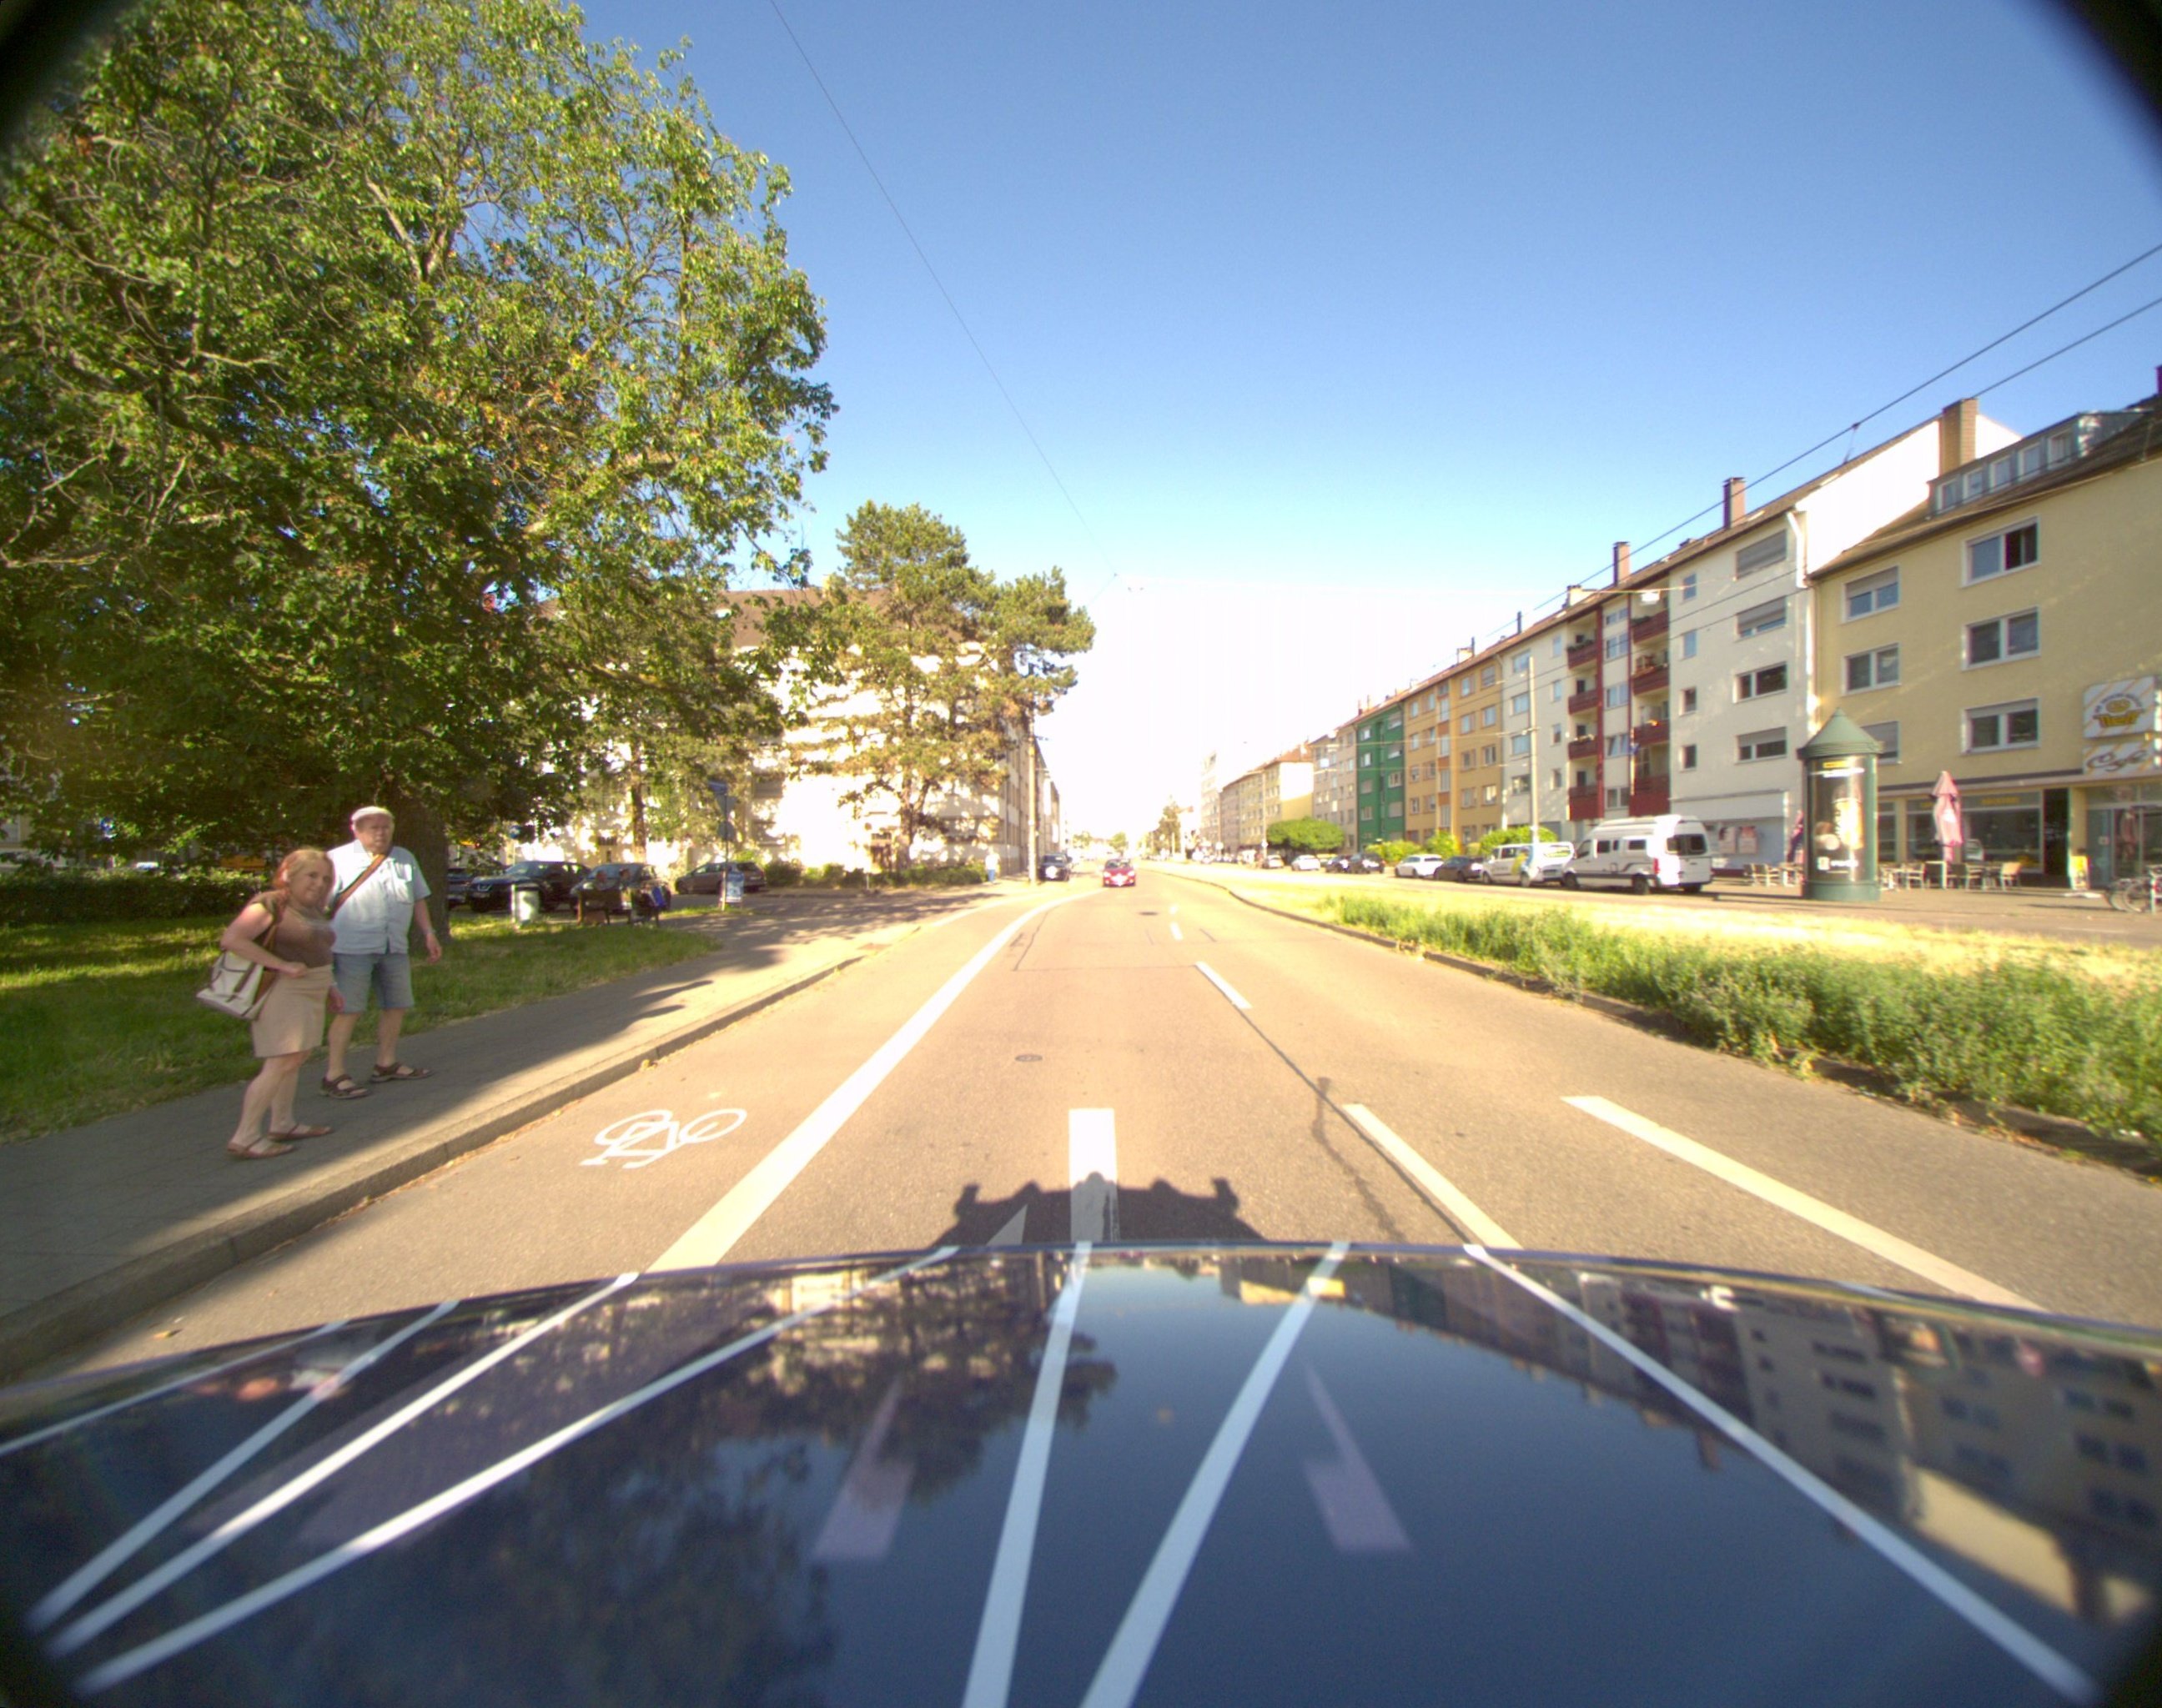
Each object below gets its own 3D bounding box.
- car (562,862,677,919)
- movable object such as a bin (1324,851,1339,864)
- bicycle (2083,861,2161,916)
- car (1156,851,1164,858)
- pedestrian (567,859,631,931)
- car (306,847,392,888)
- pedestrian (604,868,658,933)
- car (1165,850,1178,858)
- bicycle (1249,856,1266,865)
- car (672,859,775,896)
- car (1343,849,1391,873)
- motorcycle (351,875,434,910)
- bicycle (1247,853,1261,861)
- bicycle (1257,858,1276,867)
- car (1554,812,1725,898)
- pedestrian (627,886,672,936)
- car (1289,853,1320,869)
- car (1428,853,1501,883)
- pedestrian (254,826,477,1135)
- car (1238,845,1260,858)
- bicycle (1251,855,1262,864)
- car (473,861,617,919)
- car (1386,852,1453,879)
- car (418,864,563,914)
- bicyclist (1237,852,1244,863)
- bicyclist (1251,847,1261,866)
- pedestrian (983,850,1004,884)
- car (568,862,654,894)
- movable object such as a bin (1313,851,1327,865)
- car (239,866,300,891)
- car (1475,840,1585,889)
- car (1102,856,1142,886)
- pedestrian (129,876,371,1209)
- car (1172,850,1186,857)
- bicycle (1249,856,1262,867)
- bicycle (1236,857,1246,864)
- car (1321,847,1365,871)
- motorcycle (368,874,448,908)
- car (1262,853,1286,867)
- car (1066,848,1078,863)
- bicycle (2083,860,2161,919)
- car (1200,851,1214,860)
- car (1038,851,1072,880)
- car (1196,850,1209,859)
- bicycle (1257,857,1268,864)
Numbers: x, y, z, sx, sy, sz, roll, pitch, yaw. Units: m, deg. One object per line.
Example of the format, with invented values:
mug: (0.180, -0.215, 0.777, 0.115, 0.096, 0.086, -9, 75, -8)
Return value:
car: (-13.306, 0.992, 22.168, 1.641, 1.485, 3.804, 0, 0, -11)
movable object such as a bin: (26.674, 0.371, 80.876, 1.149, 1.360, 1.039, -3, 1, 3)
bicycle: (23.823, 0.758, 16.734, 0.520, 1.177, 2.084, -4, 2, -33)
car: (18.729, 0.107, 180.334, 1.617, 1.550, 4.000, 1, 0, 0)
pedestrian: (-9.589, 0.811, 15.124, 0.685, 1.365, 0.756, -3, 1, 27)
car: (-48.468, 0.906, 50.294, 5.306, 2.428, 2.129, -3, 1, 24)
pedestrian: (-8.884, 0.913, 15.009, 0.403, 1.219, 0.762, -3, 1, 27)
car: (18.526, 0.031, 156.371, 1.788, 1.519, 4.413, 0, 0, -5)
bicycle: (22.323, 0.818, 96.158, 2.052, 1.086, 0.616, -3, 1, 6)
car: (-16.250, 1.027, 34.529, 4.294, 1.493, 1.772, 0, 4, 24)
car: (21.417, 0.516, 56.995, 1.998, 1.598, 4.151, -3, 0, 0)
motorcycle: (-21.805, 1.223, 24.110, 1.785, 1.066, 0.713, 2, -1, -16)
bicycle: (26.679, 0.496, 117.109, 2.103, 1.099, 0.472, -3, 1, 1)
bicycle: (22.570, 1.037, 92.516, 2.049, 1.086, 0.616, -3, 1, 27)
car: (21.063, 0.023, 29.133, 2.037, 2.852, 6.228, -2, 0, 1)
pedestrian: (-8.432, 1.107, 14.847, 0.403, 0.928, 0.624, -3, -1, 27)
car: (21.299, 0.636, 72.571, 1.733, 1.446, 4.376, -2, 0, 1)
car: (21.011, 0.708, 41.836, 1.699, 1.506, 4.325, -2, 0, -2)
pedestrian: (-4.478, 0.740, 4.804, 0.704, 1.779, 0.694, 2, 0, 6)
car: (26.651, -0.361, 120.978, 1.999, 1.938, 5.499, -3, 0, -3)
bicycle: (21.110, 0.702, 91.480, 0.511, 1.086, 1.934, -3, 0, -11)
car: (-16.049, 1.013, 22.991, 1.455, 1.563, 3.810, 0, 0, 4)
car: (21.036, 0.691, 47.413, 1.897, 1.483, 4.702, -3, 0, -2)
car: (-18.971, 1.063, 24.677, 1.640, 1.432, 4.239, 0, 0, -5)
bicyclist: (19.824, 0.467, 94.261, 0.775, 1.376, 0.648, 0, 1, 1)
bicyclist: (18.909, 0.297, 82.074, 0.775, 2.002, 0.648, -3, 1, 1)
pedestrian: (-4.474, 0.642, 38.874, 0.882, 1.712, 0.725, 0, 0, 6)
car: (-23.427, 1.152, 37.883, 3.902, 1.461, 1.773, 1, 0, 24)
movable object such as a bin: (25.442, 0.441, 80.908, 1.149, 1.360, 1.039, -3, 1, 3)
car: (-60.334, 1.837, 56.490, 3.991, 1.601, 1.803, -3, 0, 24)
car: (21.079, 0.444, 36.008, 2.037, 2.009, 5.370, -3, 0, 1)
car: (2.037, 0.828, 38.627, 1.862, 1.461, 3.808, 0, 0, 1)
pedestrian: (-4.180, 0.887, 3.865, 0.530, 1.520, 0.628, 1, 1, 6)
car: (19.213, -0.026, 149.455, 1.839, 1.377, 4.413, 0, 0, -6)
bicycle: (18.823, 0.785, 81.935, 0.770, 1.139, 2.474, 1, 0, 1)
bicycle: (19.839, 0.839, 94.207, 0.770, 0.874, 2.069, 1, 0, 1)
car: (21.351, 0.392, 62.080, 1.998, 1.827, 4.609, -3, 0, 0)
motorcycle: (-22.021, 1.202, 24.897, 1.785, 1.066, 0.713, 2, -1, -16)
car: (21.677, 0.674, 85.401, 1.640, 1.434, 3.733, -3, 0, -2)
car: (-1.597, 0.214, 137.261, 2.156, 2.680, 6.291, 1, 0, 0)
bicycle: (23.372, 0.762, 16.391, 0.520, 1.245, 2.085, -4, 2, -33)
car: (21.502, 0.208, 129.660, 1.698, 1.439, 4.217, 0, 0, 1)
car: (-1.620, 0.718, 49.004, 1.883, 1.707, 4.934, 2, 0, 1)
car: (27.422, 0.104, 171.229, 1.999, 1.887, 4.669, -3, 0, -2)
bicycle: (21.895, 0.796, 91.640, 0.377, 0.861, 2.053, -3, 0, -11)
